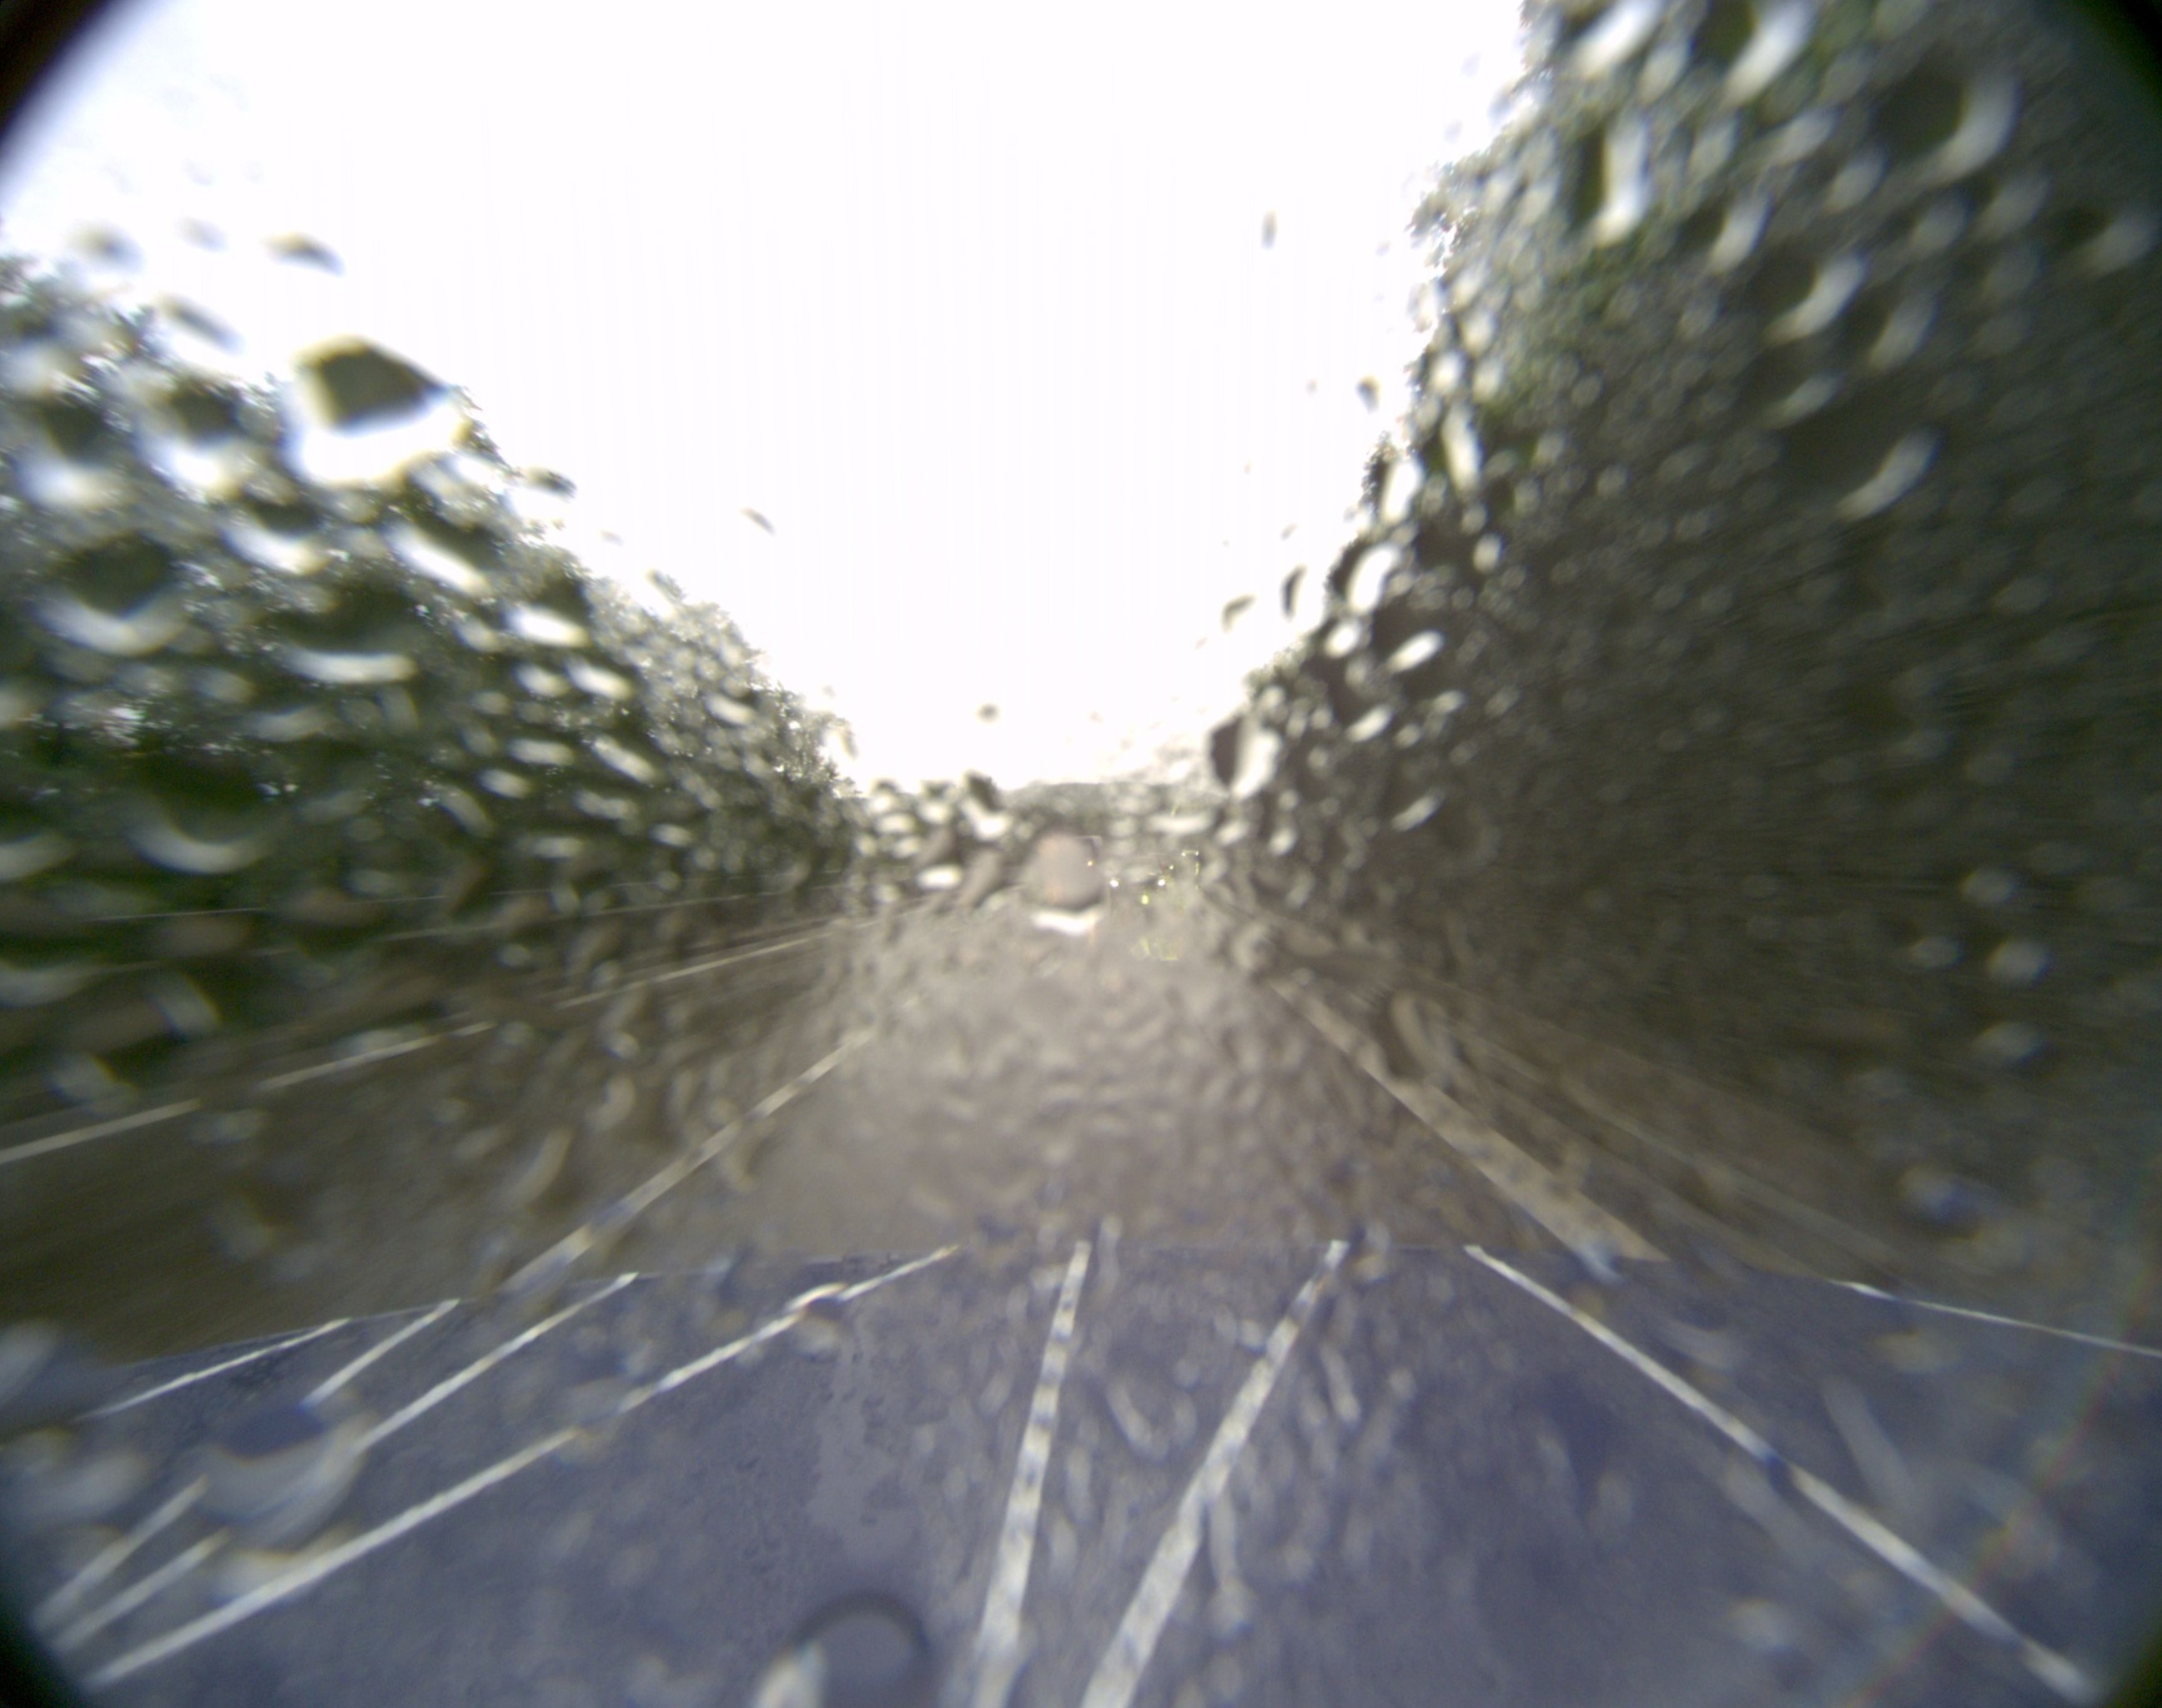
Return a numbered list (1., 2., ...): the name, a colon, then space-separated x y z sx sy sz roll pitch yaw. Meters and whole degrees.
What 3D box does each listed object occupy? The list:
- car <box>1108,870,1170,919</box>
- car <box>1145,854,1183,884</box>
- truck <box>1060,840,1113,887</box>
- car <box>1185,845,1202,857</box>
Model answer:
1. car: 2.002 1.282 25.167 1.826 1.375 4.002 -2 -1 7
2. car: 4.633 0.783 41.895 1.826 1.375 4.002 -5 0 8
3. truck: 0.442 0.495 45.699 2.107 2.481 8.006 -2 0 8
4. car: 14.230 -0.403 95.824 1.826 1.375 4.003 -5 0 11
